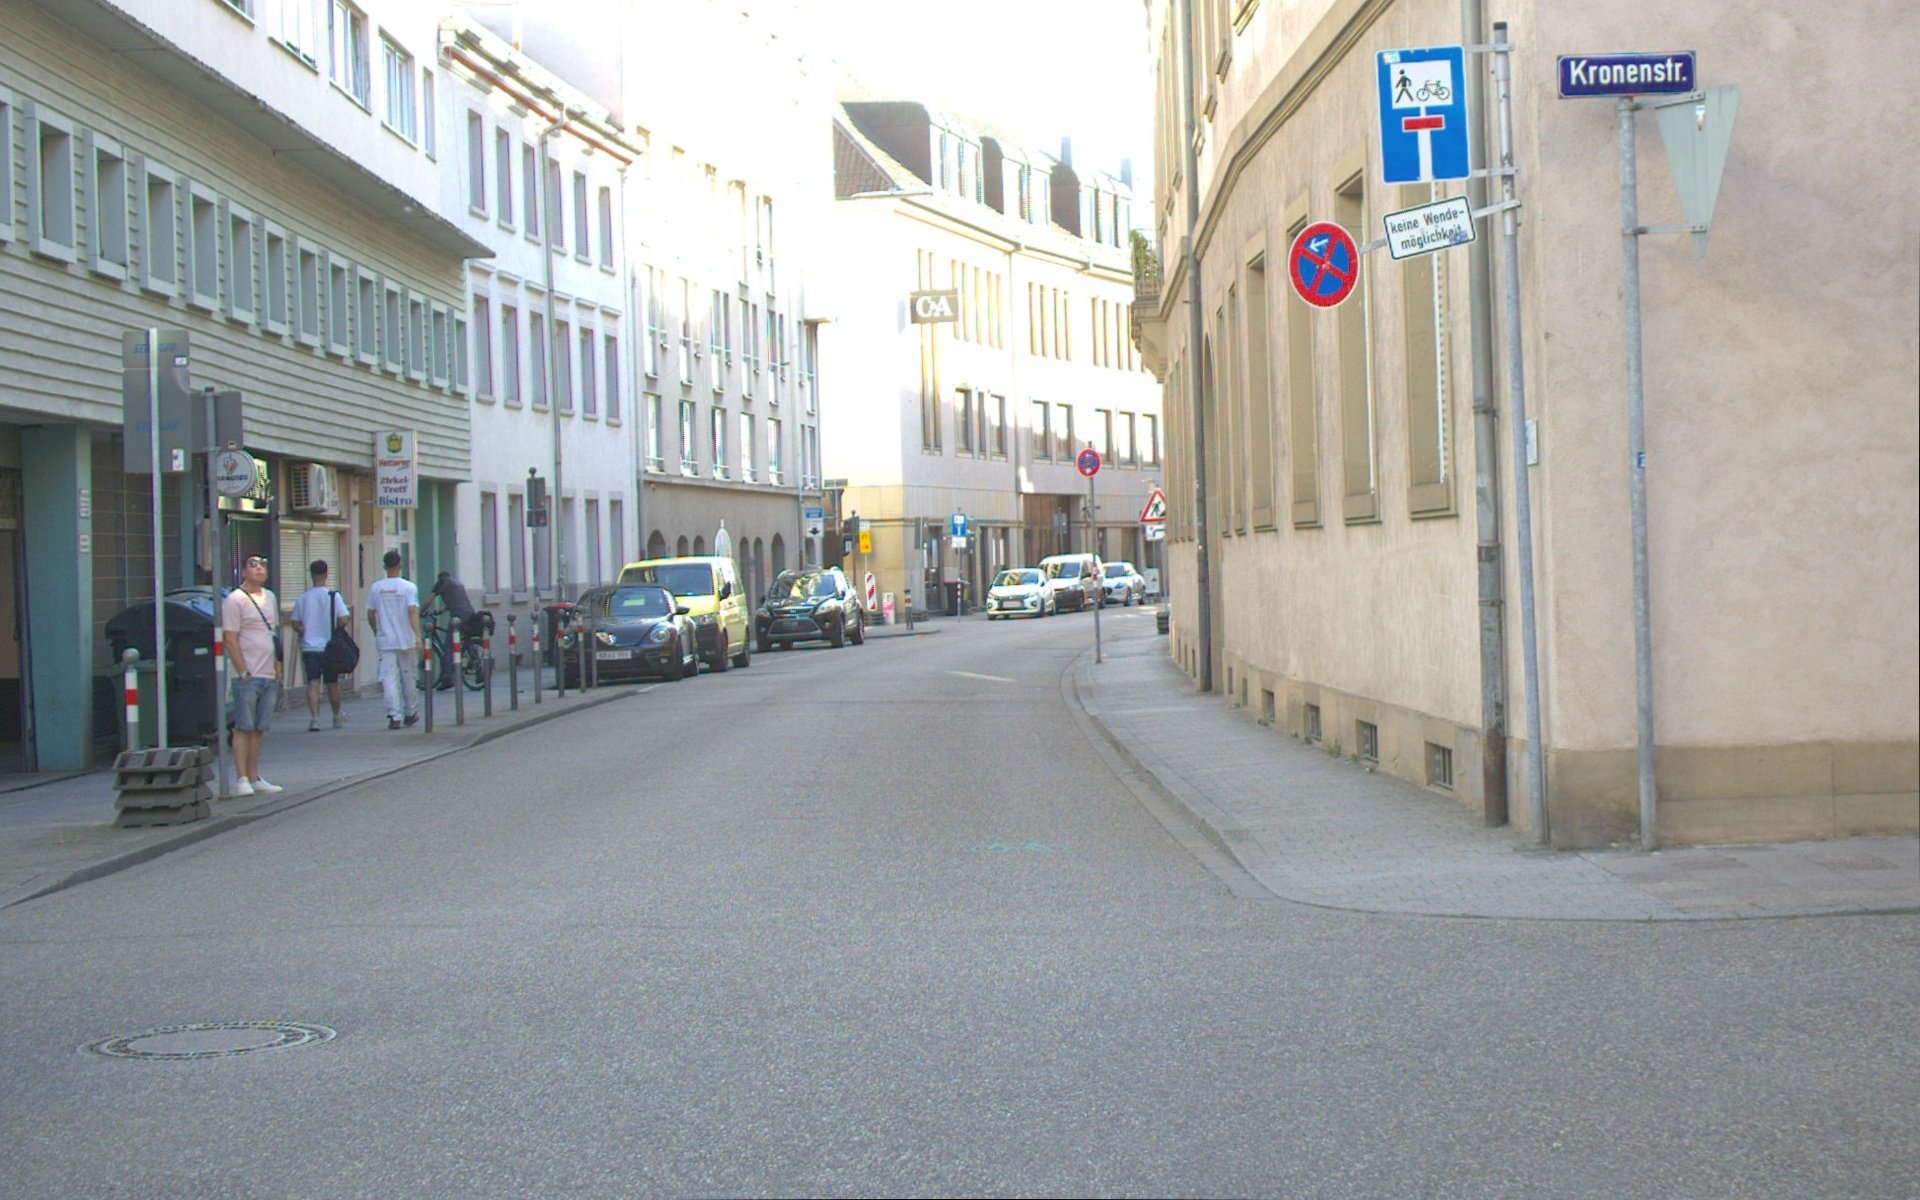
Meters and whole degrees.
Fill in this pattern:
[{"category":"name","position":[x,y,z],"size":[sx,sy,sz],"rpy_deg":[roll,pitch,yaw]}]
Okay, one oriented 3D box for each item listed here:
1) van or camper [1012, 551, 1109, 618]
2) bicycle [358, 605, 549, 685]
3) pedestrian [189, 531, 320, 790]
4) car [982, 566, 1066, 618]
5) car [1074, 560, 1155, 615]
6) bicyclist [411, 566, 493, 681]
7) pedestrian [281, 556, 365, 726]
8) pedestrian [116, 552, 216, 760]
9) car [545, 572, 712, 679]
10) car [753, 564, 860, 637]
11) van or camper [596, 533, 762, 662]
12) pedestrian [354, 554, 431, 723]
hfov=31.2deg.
[{"category":"van or camper","position":[3.231,-0.504,109.208],"size":[1.995,2.007,4.995],"rpy_deg":[-1,1,14]},{"category":"bicycle","position":[-7.017,0.625,47.589],"size":[2.544,1.051,0.832],"rpy_deg":[-1,1,24]},{"category":"pedestrian","position":[-5.044,0.425,24.607],"size":[0.556,1.823,0.730],"rpy_deg":[-1,0,22]},{"category":"car","position":[1.960,-0.257,103.426],"size":[1.735,1.463,3.998],"rpy_deg":[-1,1,13]},{"category":"car","position":[5.202,-0.434,115.538],"size":[1.827,1.720,3.997],"rpy_deg":[-1,1,16]},{"category":"bicyclist","position":[-7.032,0.319,47.584],"size":[0.758,1.556,0.832],"rpy_deg":[-1,1,24]},{"category":"pedestrian","position":[-6.404,0.403,34.572],"size":[0.712,1.679,0.480],"rpy_deg":[-1,0,-1]},{"category":"pedestrian","position":[-7.092,0.495,30.724],"size":[0.728,1.823,0.557],"rpy_deg":[-1,0,-2]},{"category":"car","position":[-4.888,0.357,51.137],"size":[1.866,1.463,3.833],"rpy_deg":[-1,1,3]},{"category":"car","position":[-3.233,-0.011,73.090],"size":[1.866,1.463,3.833],"rpy_deg":[-1,1,3]},{"category":"van or camper","position":[-4.597,-0.066,56.875],"size":[1.994,2.007,4.482],"rpy_deg":[-1,1,4]},{"category":"pedestrian","position":[-5.707,0.382,34.582],"size":[0.662,1.679,0.480],"rpy_deg":[-1,0,-1]}]
